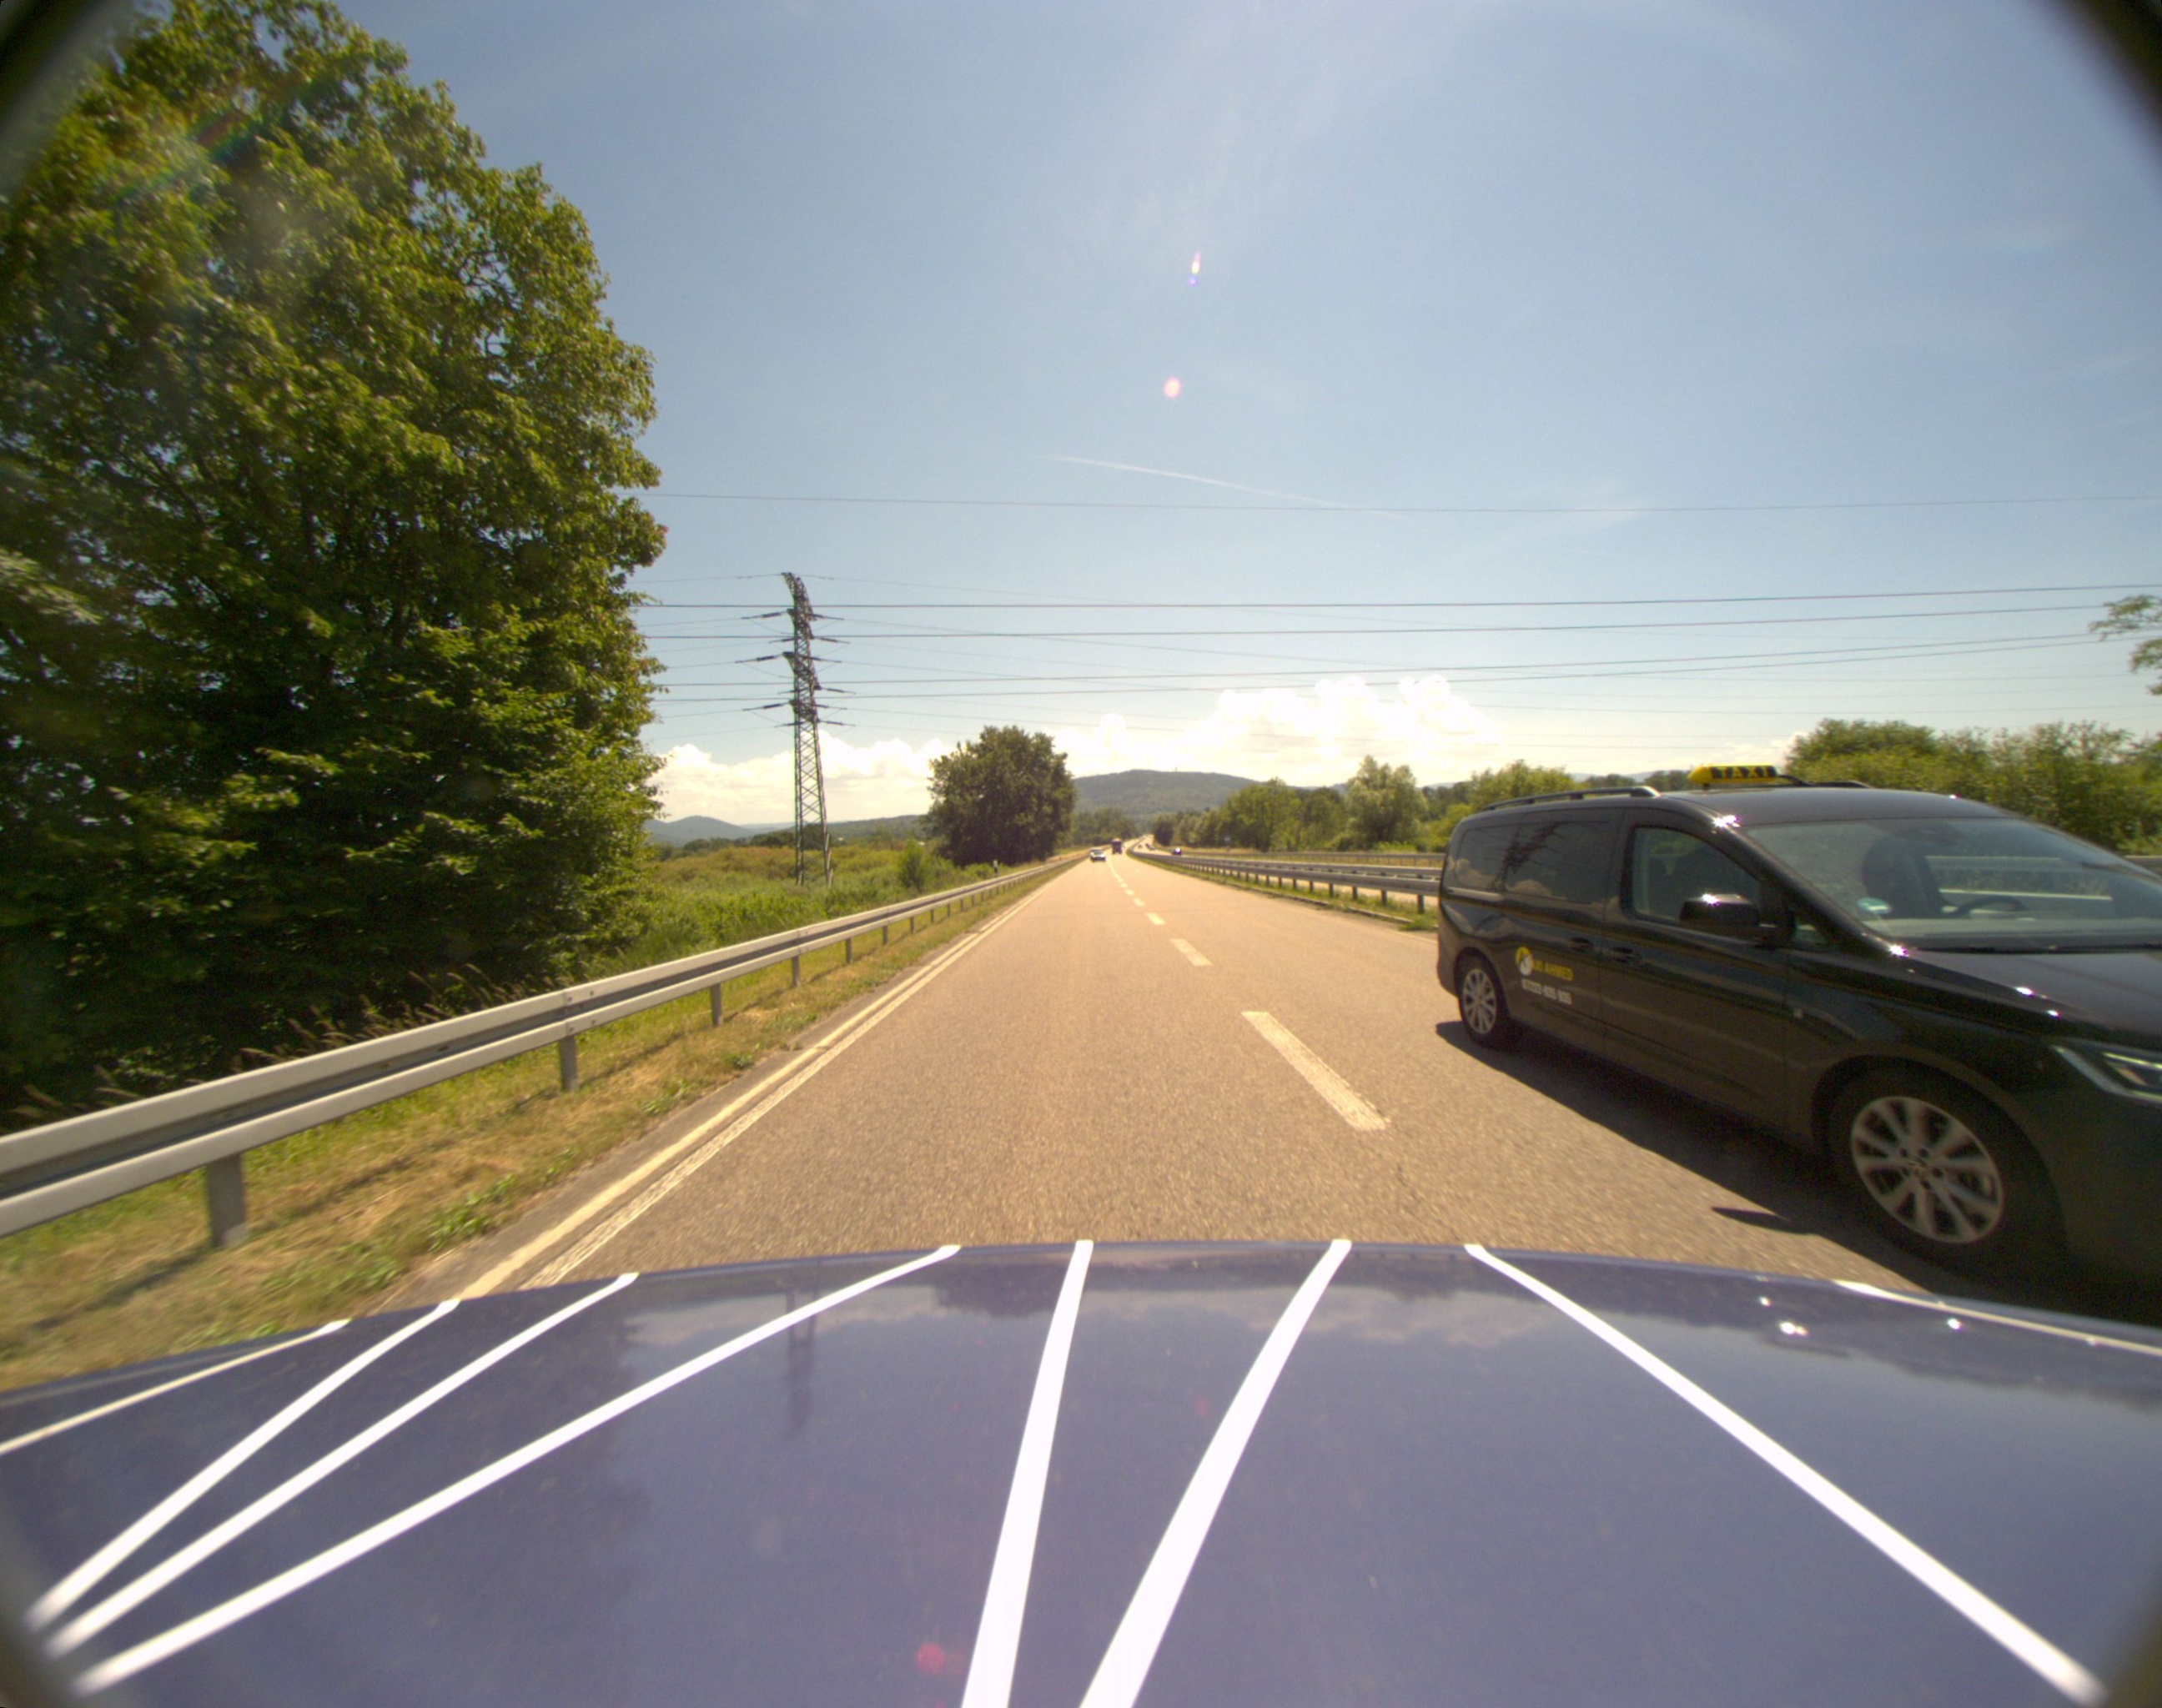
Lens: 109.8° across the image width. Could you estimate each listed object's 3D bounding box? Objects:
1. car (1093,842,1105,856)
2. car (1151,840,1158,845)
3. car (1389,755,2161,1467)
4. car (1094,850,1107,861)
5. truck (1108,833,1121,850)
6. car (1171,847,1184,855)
[{"bbox_3d":[2.910,-0.746,120.727,1.619,2.086,3.486,-2,1,4],"label":"car"},{"bbox_3d":[23.851,-3.690,246.077,1.928,1.377,4.658,-1,1,3],"label":"car"},{"bbox_3d":[3.755,0.628,4.137,1.859,1.876,5.572,-2,1,0],"label":"car"},{"bbox_3d":[2.670,0.217,103.026,1.577,1.387,3.486,-2,1,4],"label":"car"},{"bbox_3d":[8.671,-3.222,194.855,2.826,4.143,9.949,-2,1,5],"label":"truck"},{"bbox_3d":[17.531,-0.578,138.604,1.849,1.405,4.680,-2,1,1],"label":"car"}]
